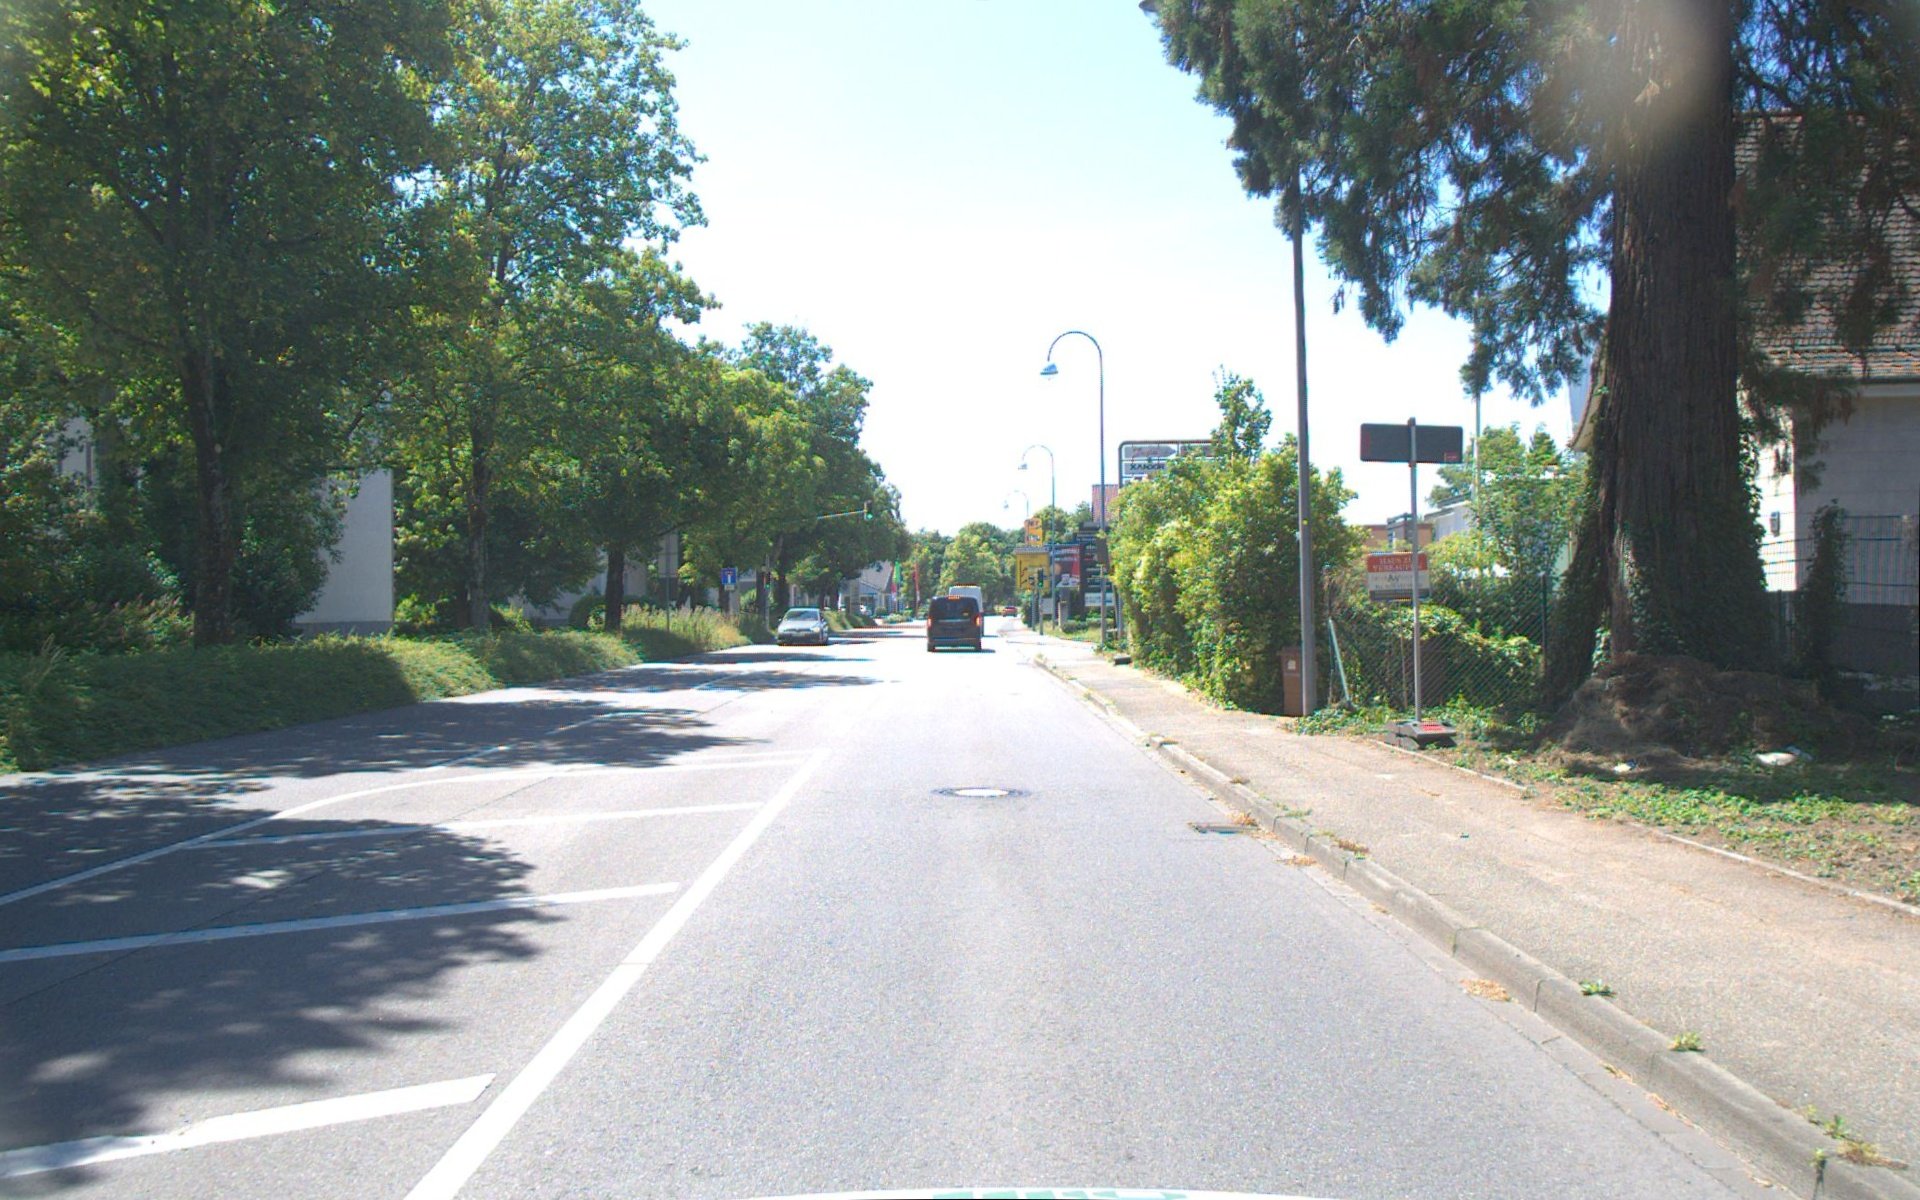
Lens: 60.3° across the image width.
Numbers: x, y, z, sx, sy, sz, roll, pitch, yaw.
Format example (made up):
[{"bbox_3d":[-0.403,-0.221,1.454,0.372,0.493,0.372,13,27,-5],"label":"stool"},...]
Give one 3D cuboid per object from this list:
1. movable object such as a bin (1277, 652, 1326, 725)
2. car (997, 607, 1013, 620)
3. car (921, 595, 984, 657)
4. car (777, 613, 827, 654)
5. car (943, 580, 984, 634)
[{"bbox_3d":[4.585,1.179,22.198,0.462,0.944,0.522,2,0,33],"label":"movable object such as a bin"},{"bbox_3d":[6.129,1.839,225.934,1.818,1.671,4.003,1,1,6],"label":"car"},{"bbox_3d":[-0.289,0.862,56.405,1.954,1.926,3.998,1,1,-3],"label":"car"},{"bbox_3d":[-6.217,1.294,65.383,1.687,1.452,4.146,1,0,-2],"label":"car"},{"bbox_3d":[0.213,0.327,88.171,2.076,2.724,5.663,1,1,1],"label":"car"}]
